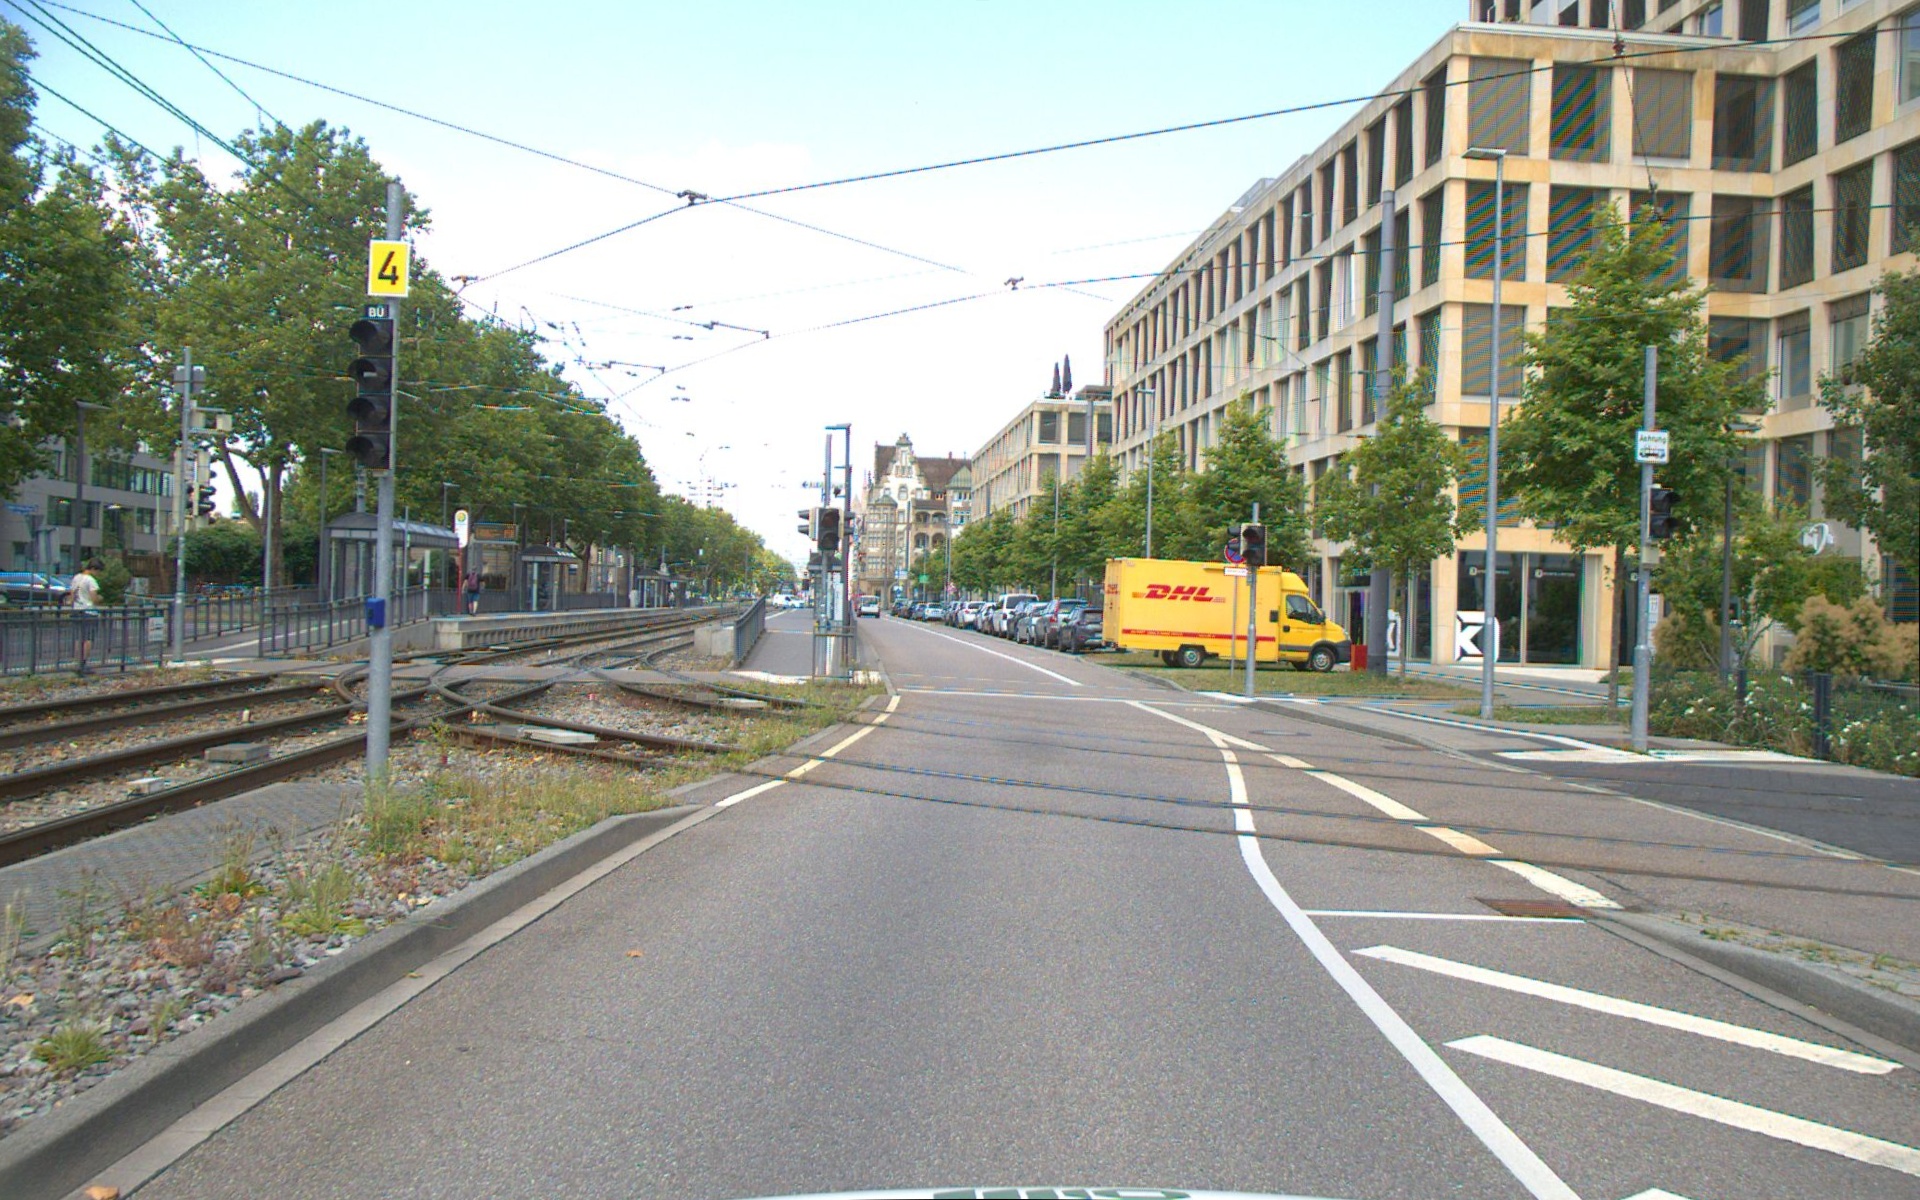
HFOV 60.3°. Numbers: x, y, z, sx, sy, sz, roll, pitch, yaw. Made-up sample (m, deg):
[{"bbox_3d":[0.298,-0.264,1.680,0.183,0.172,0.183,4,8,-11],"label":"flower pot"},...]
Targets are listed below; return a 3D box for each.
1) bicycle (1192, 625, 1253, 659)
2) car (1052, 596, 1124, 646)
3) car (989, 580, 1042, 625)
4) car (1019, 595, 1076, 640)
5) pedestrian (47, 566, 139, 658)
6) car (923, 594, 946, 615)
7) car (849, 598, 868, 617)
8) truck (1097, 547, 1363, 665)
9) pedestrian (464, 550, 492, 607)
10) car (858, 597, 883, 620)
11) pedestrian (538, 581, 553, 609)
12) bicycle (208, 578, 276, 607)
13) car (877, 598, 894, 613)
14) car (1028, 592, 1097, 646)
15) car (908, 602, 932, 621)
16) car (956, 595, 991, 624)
[{"bbox_3d":[8.253,1.312,52.059,1.806,0.973,0.519,3,-1,-6],"label":"bicycle"},{"bbox_3d":[4.153,0.653,54.065,1.658,1.531,4.063,2,0,-5],"label":"car"},{"bbox_3d":[2.500,0.110,75.976,1.845,1.973,4.838,1,0,-5],"label":"car"},{"bbox_3d":[3.385,0.658,64.578,1.687,1.648,3.856,2,0,-5],"label":"car"},{"bbox_3d":[-13.000,0.179,24.822,0.901,1.367,0.864,0,-1,-1],"label":"pedestrian"},{"bbox_3d":[-1.987,0.337,129.118,1.560,1.485,3.610,3,0,-4],"label":"car"},{"bbox_3d":[-11.046,0.777,179.426,1.954,2.049,3.996,0,0,-5],"label":"car"},{"bbox_3d":[7.272,0.185,44.974,6.677,2.917,2.450,2,-1,-8],"label":"truck"},{"bbox_3d":[-16.178,-0.705,55.532,0.692,1.877,0.863,1,0,-6],"label":"pedestrian"},{"bbox_3d":[-7.551,0.694,138.636,1.833,1.777,3.995,3,0,-6],"label":"car"},{"bbox_3d":[-19.415,-0.221,77.469,0.542,1.291,0.767,2,0,-3],"label":"pedestrian"},{"bbox_3d":[-35.268,-0.367,81.290,2.977,1.188,0.634,5,-1,-1],"label":"bicycle"},{"bbox_3d":[-7.546,0.575,166.858,1.415,1.496,4.086,0,0,-7],"label":"car"},{"bbox_3d":[3.646,0.647,59.431,1.734,1.798,4.835,2,0,-5],"label":"car"},{"bbox_3d":[-3.383,0.973,140.572,1.561,1.459,4.101,4,0,-7],"label":"car"},{"bbox_3d":[0.787,0.529,96.683,1.652,1.634,4.147,1,0,-5],"label":"car"}]
